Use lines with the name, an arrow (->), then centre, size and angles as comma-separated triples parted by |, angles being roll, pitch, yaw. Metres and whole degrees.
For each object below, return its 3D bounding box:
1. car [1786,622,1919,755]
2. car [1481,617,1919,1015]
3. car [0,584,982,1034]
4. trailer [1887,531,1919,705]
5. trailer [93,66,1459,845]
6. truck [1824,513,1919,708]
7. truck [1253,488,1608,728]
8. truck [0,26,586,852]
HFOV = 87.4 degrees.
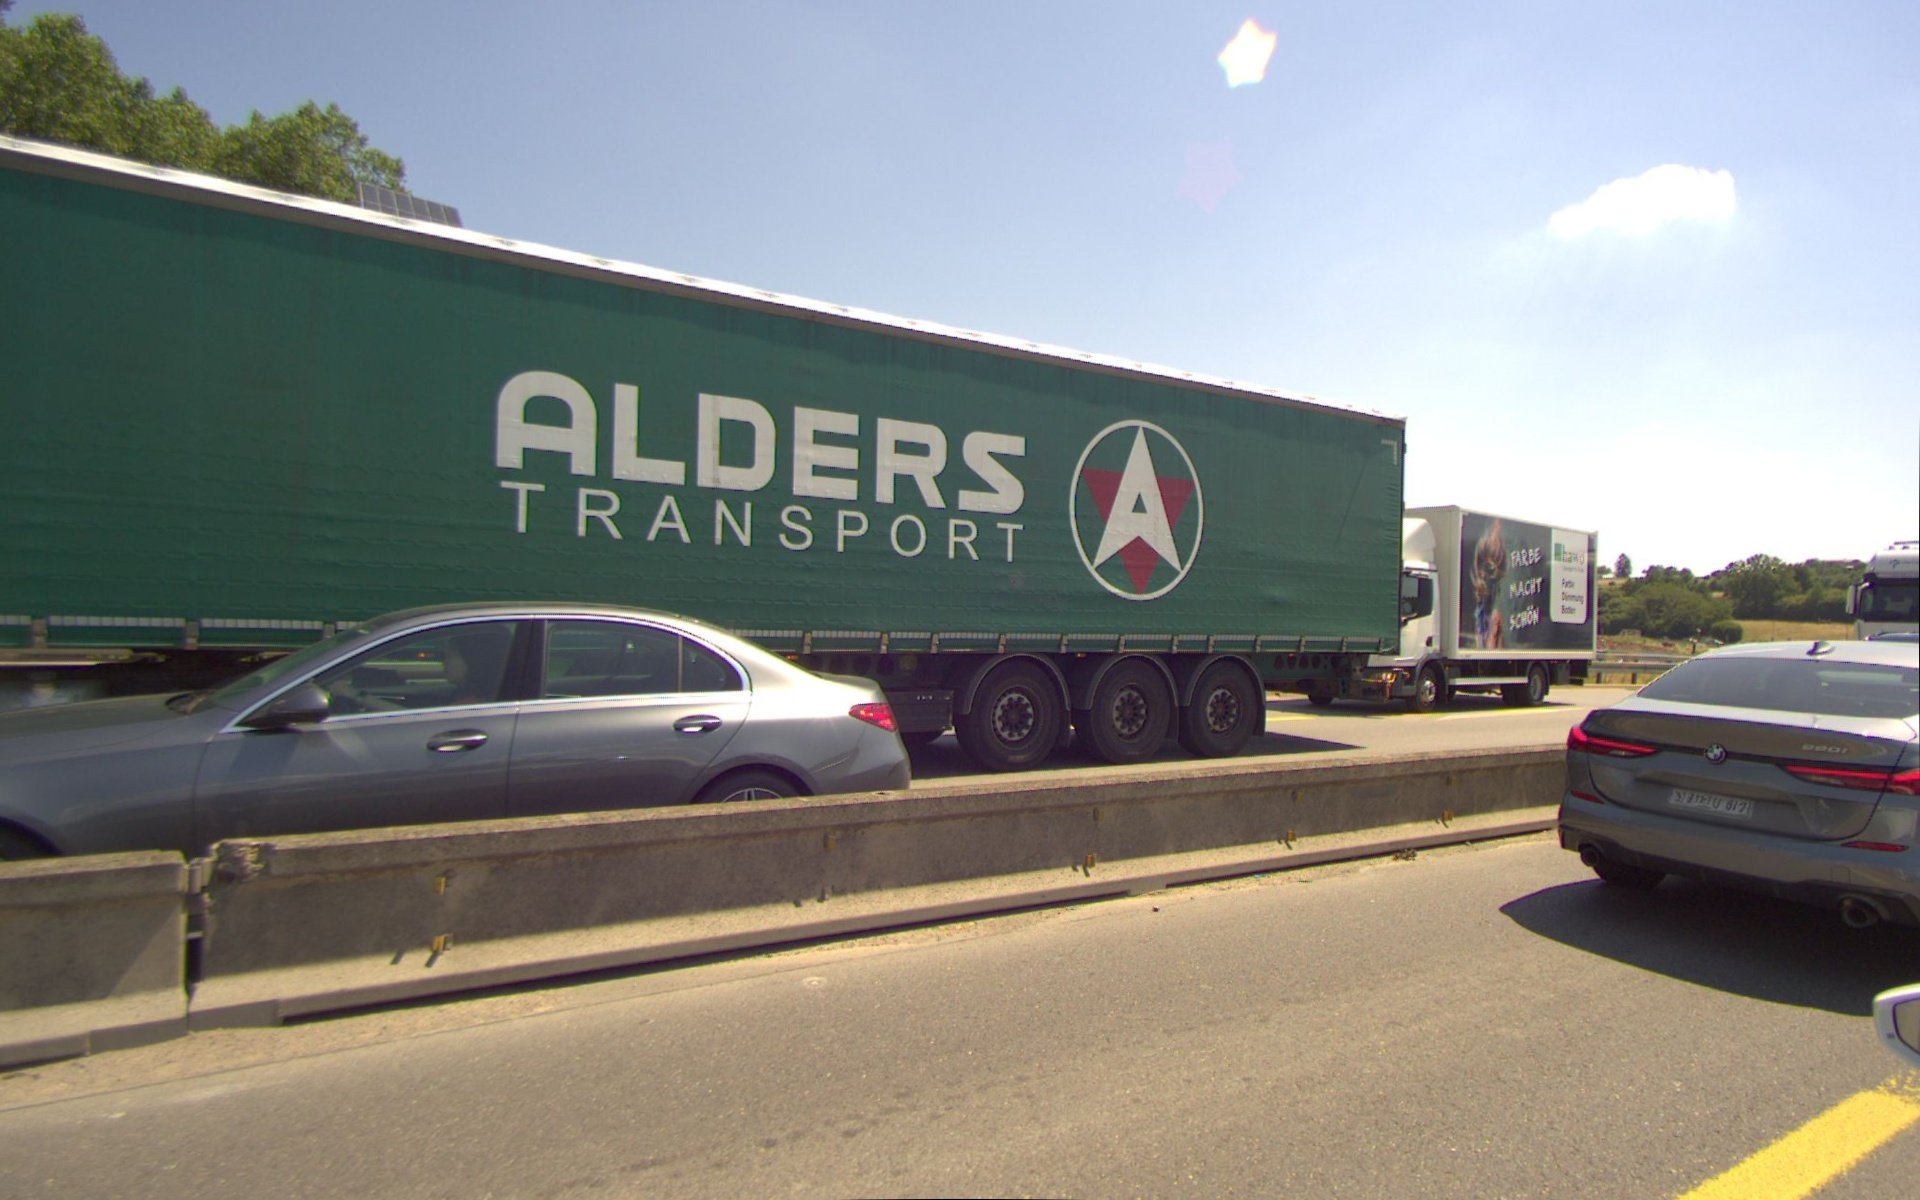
car -> 14.113, 1.237, 14.753 | 4.108, 1.668, 1.747 | 2, 1, -31
car -> 5.275, 0.887, 5.685 | 4.684, 1.471, 1.844 | 2, -1, -29
car -> -2.326, 0.751, 5.024 | 4.553, 1.478, 1.856 | 2, 1, -30
trailer -> 30.729, 0.740, 28.501 | 13.014, 4.488, 2.802 | 3, -2, -30
trailer -> -0.179, -0.660, 10.439 | 12.867, 4.524, 3.087 | 2, -1, -30
truck -> 24.461, 0.323, 24.866 | 6.152, 4.451, 2.793 | 2, 0, -30
truck -> 9.502, 0.176, 19.738 | 8.295, 3.815, 2.881 | 1, 1, -39
truck -> -6.493, -0.914, 6.715 | 7.018, 4.597, 3.063 | 2, 0, -30
